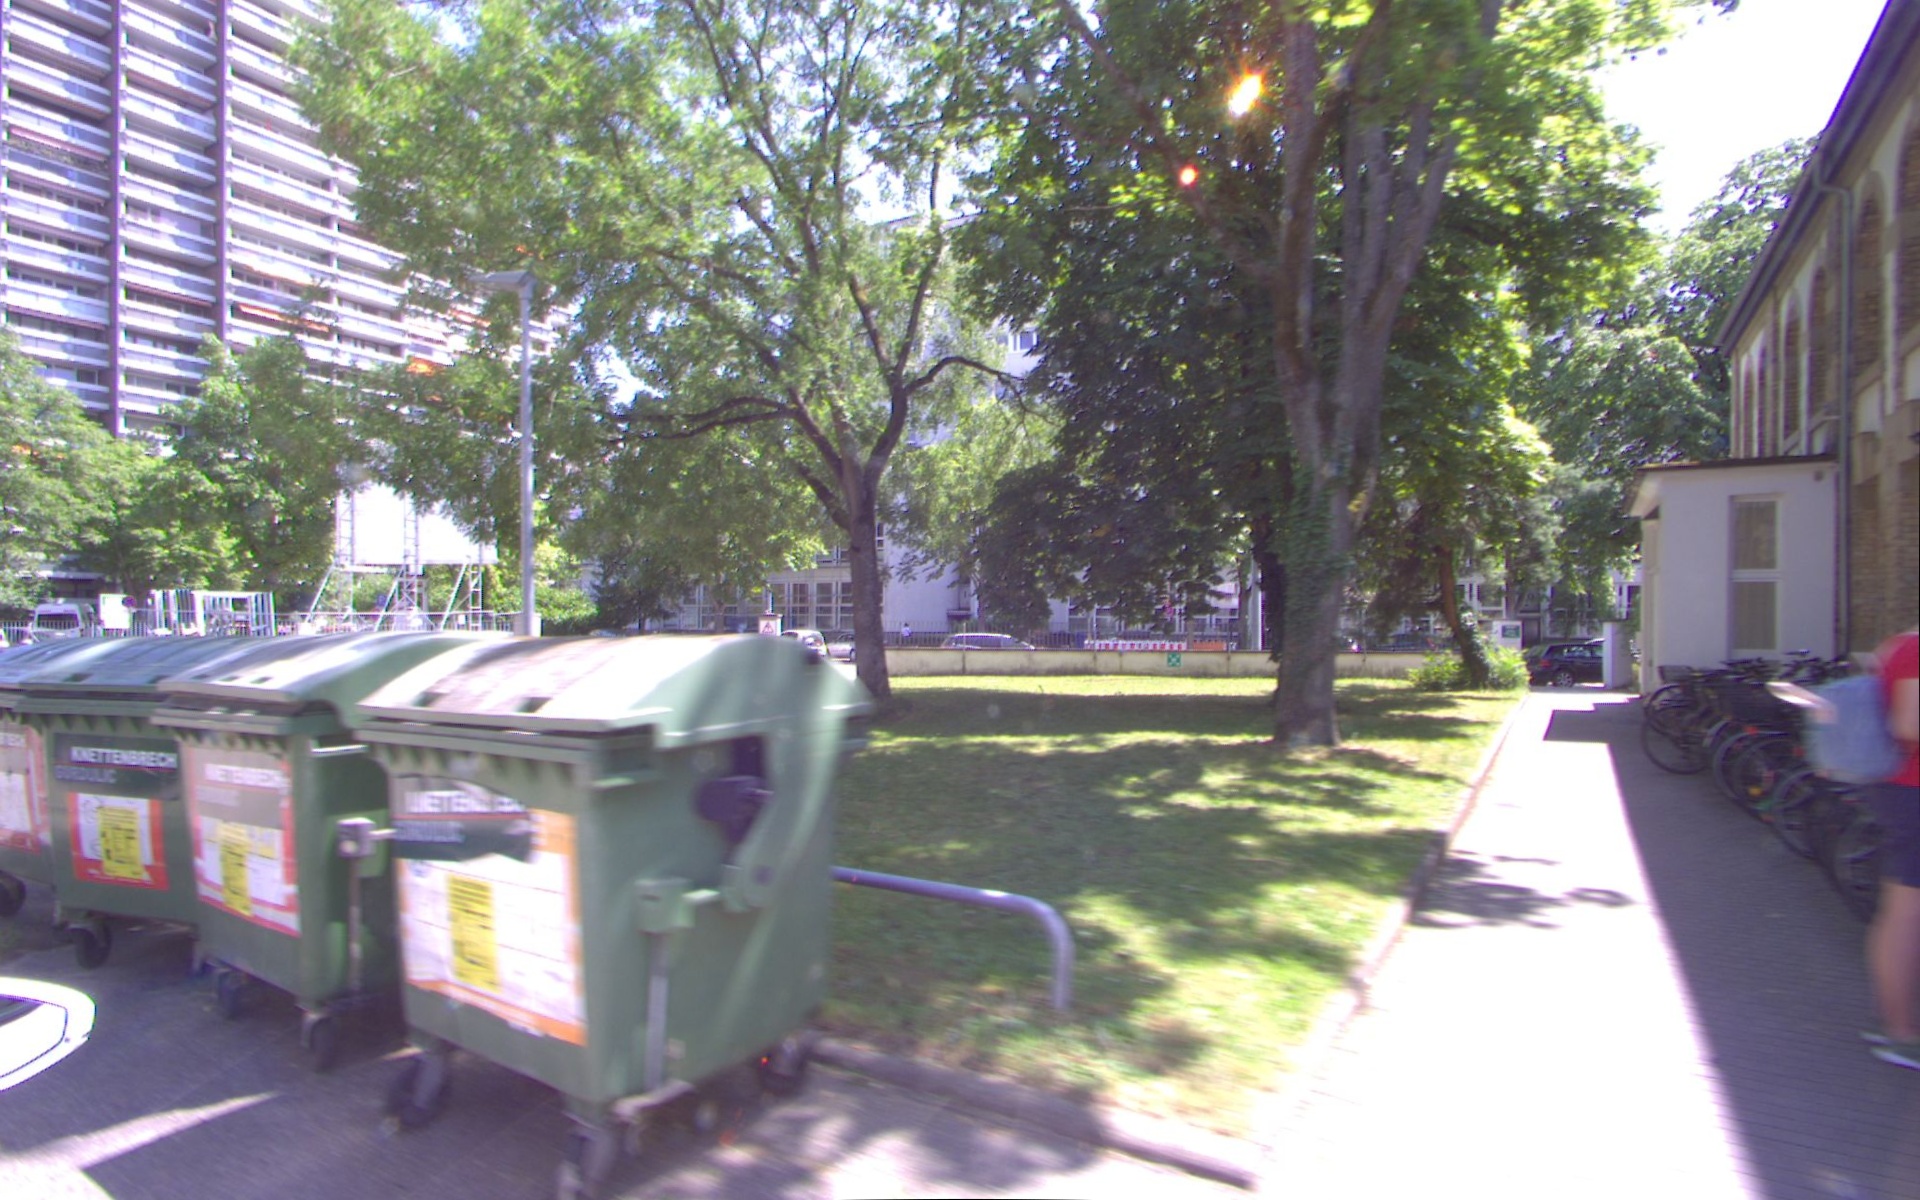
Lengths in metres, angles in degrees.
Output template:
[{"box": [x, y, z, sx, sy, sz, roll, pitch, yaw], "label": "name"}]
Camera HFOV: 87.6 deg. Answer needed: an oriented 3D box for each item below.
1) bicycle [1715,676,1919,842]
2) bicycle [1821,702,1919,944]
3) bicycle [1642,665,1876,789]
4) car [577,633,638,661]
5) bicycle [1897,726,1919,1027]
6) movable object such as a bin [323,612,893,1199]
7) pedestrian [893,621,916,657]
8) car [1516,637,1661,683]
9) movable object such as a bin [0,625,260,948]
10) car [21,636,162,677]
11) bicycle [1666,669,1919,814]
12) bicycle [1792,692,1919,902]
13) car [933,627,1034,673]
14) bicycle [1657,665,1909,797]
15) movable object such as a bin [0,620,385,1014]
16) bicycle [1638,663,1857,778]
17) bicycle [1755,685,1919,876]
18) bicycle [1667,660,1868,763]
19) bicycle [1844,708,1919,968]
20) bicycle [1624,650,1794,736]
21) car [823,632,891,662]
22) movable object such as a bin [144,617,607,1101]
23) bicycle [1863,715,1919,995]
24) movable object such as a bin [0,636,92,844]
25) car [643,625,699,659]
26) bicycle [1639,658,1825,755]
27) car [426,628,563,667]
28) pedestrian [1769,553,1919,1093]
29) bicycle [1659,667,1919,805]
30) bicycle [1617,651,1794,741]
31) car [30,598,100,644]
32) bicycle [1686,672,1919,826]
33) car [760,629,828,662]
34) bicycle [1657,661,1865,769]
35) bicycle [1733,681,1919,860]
[{"box": [6.655, 1.146, 7.295, 1.800, 1.116, 0.404, -1, -1, 33], "label": "bicycle"}, {"box": [5.197, 1.078, 4.623, 1.800, 1.116, 0.404, -1, -1, 33], "label": "bicycle"}, {"box": [7.990, 1.242, 10.110, 1.800, 1.116, 0.404, -1, -1, 33], "label": "bicycle"}, {"box": [-17.634, 2.298, 49.993, 1.897, 1.327, 3.903, 1, -2, -36], "label": "car"}, {"box": [4.434, 1.046, 3.377, 1.800, 1.116, 0.404, -1, -1, 33], "label": "bicycle"}, {"box": [-1.069, 0.789, 3.103, 1.358, 1.477, 1.073, -1, -1, 33], "label": "movable object such as a bin"}, {"box": [-3.116, 2.177, 56.235, 0.986, 2.040, 0.869, 0, -1, -41], "label": "pedestrian"}, {"box": [19.692, 1.867, 31.478, 3.461, 1.359, 1.654, 0, -1, 5], "label": "car"}, {"box": [-4.680, 0.877, 5.393, 1.358, 1.477, 1.073, -1, -1, 33], "label": "movable object such as a bin"}, {"box": [-30.439, 1.948, 35.240, 1.583, 1.337, 3.726, 0, -1, 3], "label": "car"}, {"box": [7.198, 1.180, 8.615, 1.800, 1.116, 0.404, -1, -1, 33], "label": "bicycle"}, {"box": [5.730, 1.098, 5.448, 1.800, 1.116, 0.404, -1, -1, 33], "label": "bicycle"}, {"box": [0.795, 1.629, 33.004, 3.267, 1.498, 1.433, 0, -1, 4], "label": "car"}, {"box": [7.743, 1.203, 9.519, 1.800, 1.116, 0.404, -1, -1, 33], "label": "bicycle"}, {"box": [-3.532, 0.837, 4.585, 1.358, 1.477, 1.073, -1, -1, 33], "label": "movable object such as a bin"}, {"box": [8.387, 1.258, 10.758, 1.800, 1.116, 0.404, -1, -1, 33], "label": "bicycle"}, {"box": [6.064, 1.116, 6.152, 1.800, 1.116, 0.404, -1, -1, 33], "label": "bicycle"}, {"box": [9.508, 1.285, 11.873, 1.800, 1.116, 0.404, -1, -1, 33], "label": "bicycle"}, {"box": [4.975, 1.068, 4.231, 1.800, 1.116, 0.404, -1, -1, 33], "label": "bicycle"}, {"box": [10.328, 1.294, 13.877, 1.801, 1.115, 0.404, -4, -3, 33], "label": "bicycle"}, {"box": [-5.118, 2.295, 49.352, 1.650, 1.433, 3.682, 1, -2, -39], "label": "car"}, {"box": [-2.254, 0.814, 3.891, 1.358, 1.477, 1.073, -1, -1, 33], "label": "movable object such as a bin"}, {"box": [4.735, 1.058, 3.862, 1.800, 1.116, 0.404, -1, -1, 33], "label": "bicycle"}, {"box": [-7.433, 1.018, 7.509, 1.358, 1.477, 1.073, -1, -1, 33], "label": "movable object such as a bin"}, {"box": [-14.498, 2.066, 50.178, 1.987, 1.650, 3.914, 0, -2, -27], "label": "car"}, {"box": [9.593, 1.303, 12.522, 1.800, 1.116, 0.404, -1, -1, 33], "label": "bicycle"}, {"box": [-18.077, 1.833, 39.000, 4.595, 1.456, 1.674, 0, -1, 4], "label": "car"}, {"box": [3.314, 0.736, 3.506, 0.680, 1.771, 0.549, -1, -1, 34], "label": "pedestrian"}, {"box": [7.460, 1.192, 9.082, 1.800, 1.116, 0.404, -1, -1, 33], "label": "bicycle"}, {"box": [9.851, 1.280, 13.307, 1.801, 1.115, 0.404, -4, -3, 33], "label": "bicycle"}, {"box": [-46.227, 1.101, 51.834, 2.164, 2.287, 4.835, 1, -2, -36], "label": "car"}, {"box": [6.941, 1.164, 8.016, 1.800, 1.116, 0.404, -1, -1, 33], "label": "bicycle"}, {"box": [-8.271, 2.230, 49.860, 1.652, 1.610, 3.659, 1, -2, -42], "label": "car"}, {"box": [9.056, 1.274, 11.410, 1.800, 1.116, 0.404, -1, -1, 33], "label": "bicycle"}, {"box": [6.315, 1.130, 6.670, 1.800, 1.116, 0.404, -1, -1, 33], "label": "bicycle"}]
